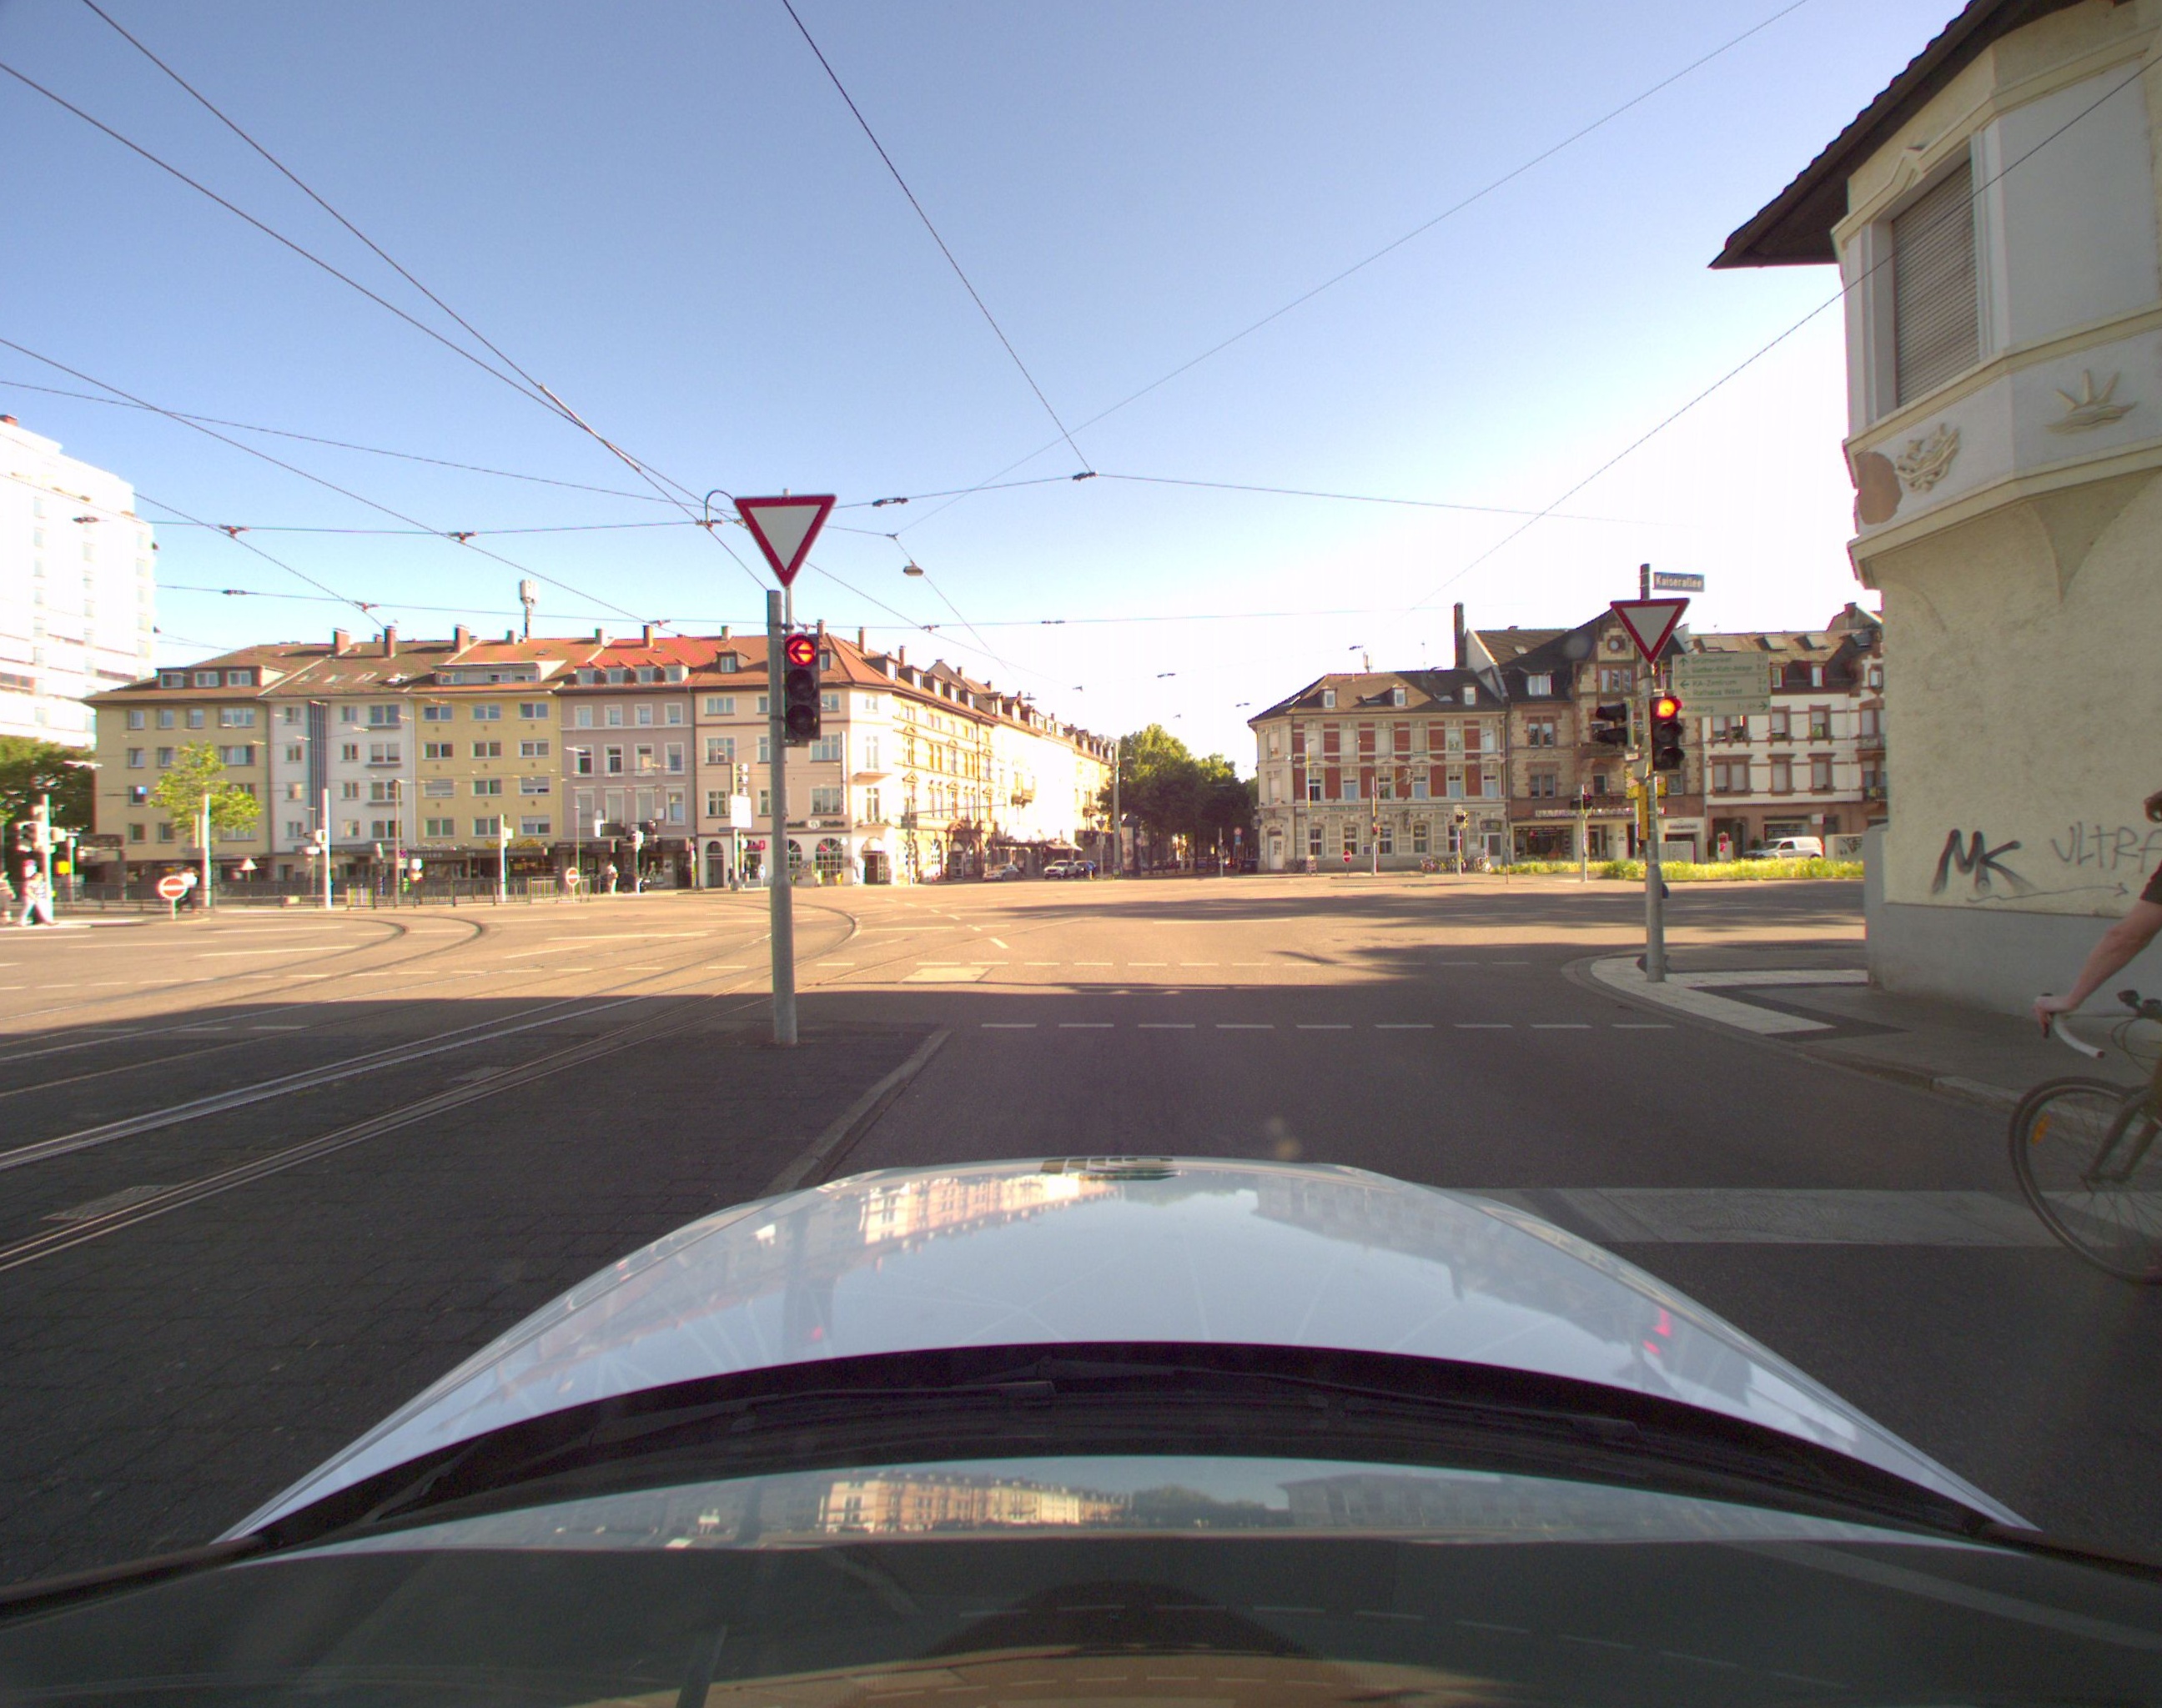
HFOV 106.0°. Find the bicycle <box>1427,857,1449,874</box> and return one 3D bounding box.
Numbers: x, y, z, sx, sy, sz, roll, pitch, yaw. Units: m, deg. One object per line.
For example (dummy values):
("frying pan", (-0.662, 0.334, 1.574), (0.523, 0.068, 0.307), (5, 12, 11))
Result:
("bicycle", (23.155, 0.730, 52.876), (0.603, 1.051, 1.641), (-1, 0, -3))

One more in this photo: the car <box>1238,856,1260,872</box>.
("car", (16.911, 0.989, 82.058), (1.637, 1.524, 3.772), (-2, -1, 20))

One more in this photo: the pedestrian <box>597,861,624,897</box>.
("pedestrian", (-24.565, 1.314, 42.562), (0.871, 1.818, 0.811), (-1, 0, 2))

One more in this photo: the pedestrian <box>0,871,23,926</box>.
("pedestrian", (-33.608, 1.378, 25.394), (0.554, 1.698, 0.496), (-1, 0, 3))

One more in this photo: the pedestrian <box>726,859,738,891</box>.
("pedestrian", (-22.772, 1.361, 53.128), (0.506, 2.013, 0.505), (-1, 0, 5))

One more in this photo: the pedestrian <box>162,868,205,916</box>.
("pedestrian", (-32.650, 1.377, 29.632), (0.695, 1.698, 0.780), (-1, 0, -9))

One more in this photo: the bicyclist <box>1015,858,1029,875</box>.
("bicyclist", (-4.761, 0.987, 65.877), (0.787, 1.375, 1.113), (-1, 0, 16))

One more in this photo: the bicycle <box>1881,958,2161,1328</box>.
("bicycle", (3.588, 0.947, 2.514), (0.530, 1.016, 1.759), (-1, 0, 2))

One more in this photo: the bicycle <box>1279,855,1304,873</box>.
("bicycle", (14.701, 0.687, 56.945), (1.625, 1.222, 0.609), (-1, 0, 18))

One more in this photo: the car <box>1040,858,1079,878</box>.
("car", (-1.725, 1.163, 67.375), (2.080, 1.499, 4.017), (-2, 0, 16))

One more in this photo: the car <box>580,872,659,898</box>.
("car", (-30.269, 1.997, 53.538), (3.978, 1.464, 1.998), (-2, 0, -4))

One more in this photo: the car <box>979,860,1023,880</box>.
("car", (-6.592, 1.305, 67.705), (2.080, 1.545, 4.382), (-2, 0, 16))

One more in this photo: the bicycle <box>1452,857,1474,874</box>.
("bicycle", (24.645, 0.716, 52.575), (0.603, 1.051, 1.641), (-1, 0, -3))

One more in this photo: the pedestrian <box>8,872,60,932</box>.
("pedestrian", (-31.059, 1.411, 24.167), (0.744, 1.698, 0.553), (-1, 0, -11))

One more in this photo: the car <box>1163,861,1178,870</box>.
("car", (14.447, 1.812, 131.462), (1.728, 1.397, 4.141), (1, 0, 16))

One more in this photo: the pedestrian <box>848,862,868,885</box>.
("pedestrian", (-15.391, 1.336, 56.226), (1.072, 1.591, 1.032), (-1, 0, -32))

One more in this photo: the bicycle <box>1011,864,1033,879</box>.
("bicycle", (-4.763, 1.431, 65.905), (0.745, 1.135, 2.821), (-1, 0, 16))

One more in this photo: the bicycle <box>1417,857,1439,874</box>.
("bicycle", (22.501, 0.735, 52.845), (0.603, 1.051, 1.641), (-1, 0, -3))

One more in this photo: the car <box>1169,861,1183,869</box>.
("car", (15.870, 1.836, 136.210), (1.728, 1.397, 4.141), (1, 0, 16))

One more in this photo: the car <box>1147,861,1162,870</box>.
("car", (11.069, 1.730, 122.715), (1.729, 1.397, 4.137), (1, 0, 12))

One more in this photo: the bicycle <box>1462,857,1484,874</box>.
("bicycle", (25.320, 0.712, 52.625), (0.603, 1.051, 1.641), (-1, 0, -3))

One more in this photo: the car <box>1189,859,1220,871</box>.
("car", (17.492, 1.526, 114.999), (4.078, 1.646, 1.754), (1, 0, 17))

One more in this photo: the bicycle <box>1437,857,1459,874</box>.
("bicycle", (23.818, 0.725, 52.876), (0.603, 1.051, 1.641), (-1, 0, -3))

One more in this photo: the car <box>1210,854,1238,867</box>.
("car", (23.378, 1.086, 133.078), (4.074, 1.919, 1.756), (1, 0, 23))

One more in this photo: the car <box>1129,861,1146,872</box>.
("car", (7.608, 1.652, 110.008), (1.729, 1.397, 4.137), (1, 0, 12))

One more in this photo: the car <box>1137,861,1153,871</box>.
("car", (9.182, 1.687, 115.779), (1.729, 1.397, 4.137), (1, 0, 12))

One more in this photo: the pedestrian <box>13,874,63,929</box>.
("pedestrian", (-31.819, 1.425, 24.861), (0.715, 1.625, 0.791), (-1, 0, -34))

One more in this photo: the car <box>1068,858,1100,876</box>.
("car", (0.296, 1.151, 73.698), (1.979, 1.513, 4.015), (-1, 0, 14))

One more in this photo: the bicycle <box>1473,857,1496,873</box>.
("bicycle", (26.058, 0.706, 52.618), (0.603, 1.051, 1.641), (-1, 0, -3))

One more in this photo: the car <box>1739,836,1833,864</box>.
("car", (45.390, -0.241, 52.478), (4.356, 1.654, 1.999), (-1, 0, -2))

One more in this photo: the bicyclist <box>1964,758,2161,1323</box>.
("bicyclist", (3.584, 0.571, 2.502), (0.557, 1.730, 1.084), (0, -1, 2))
